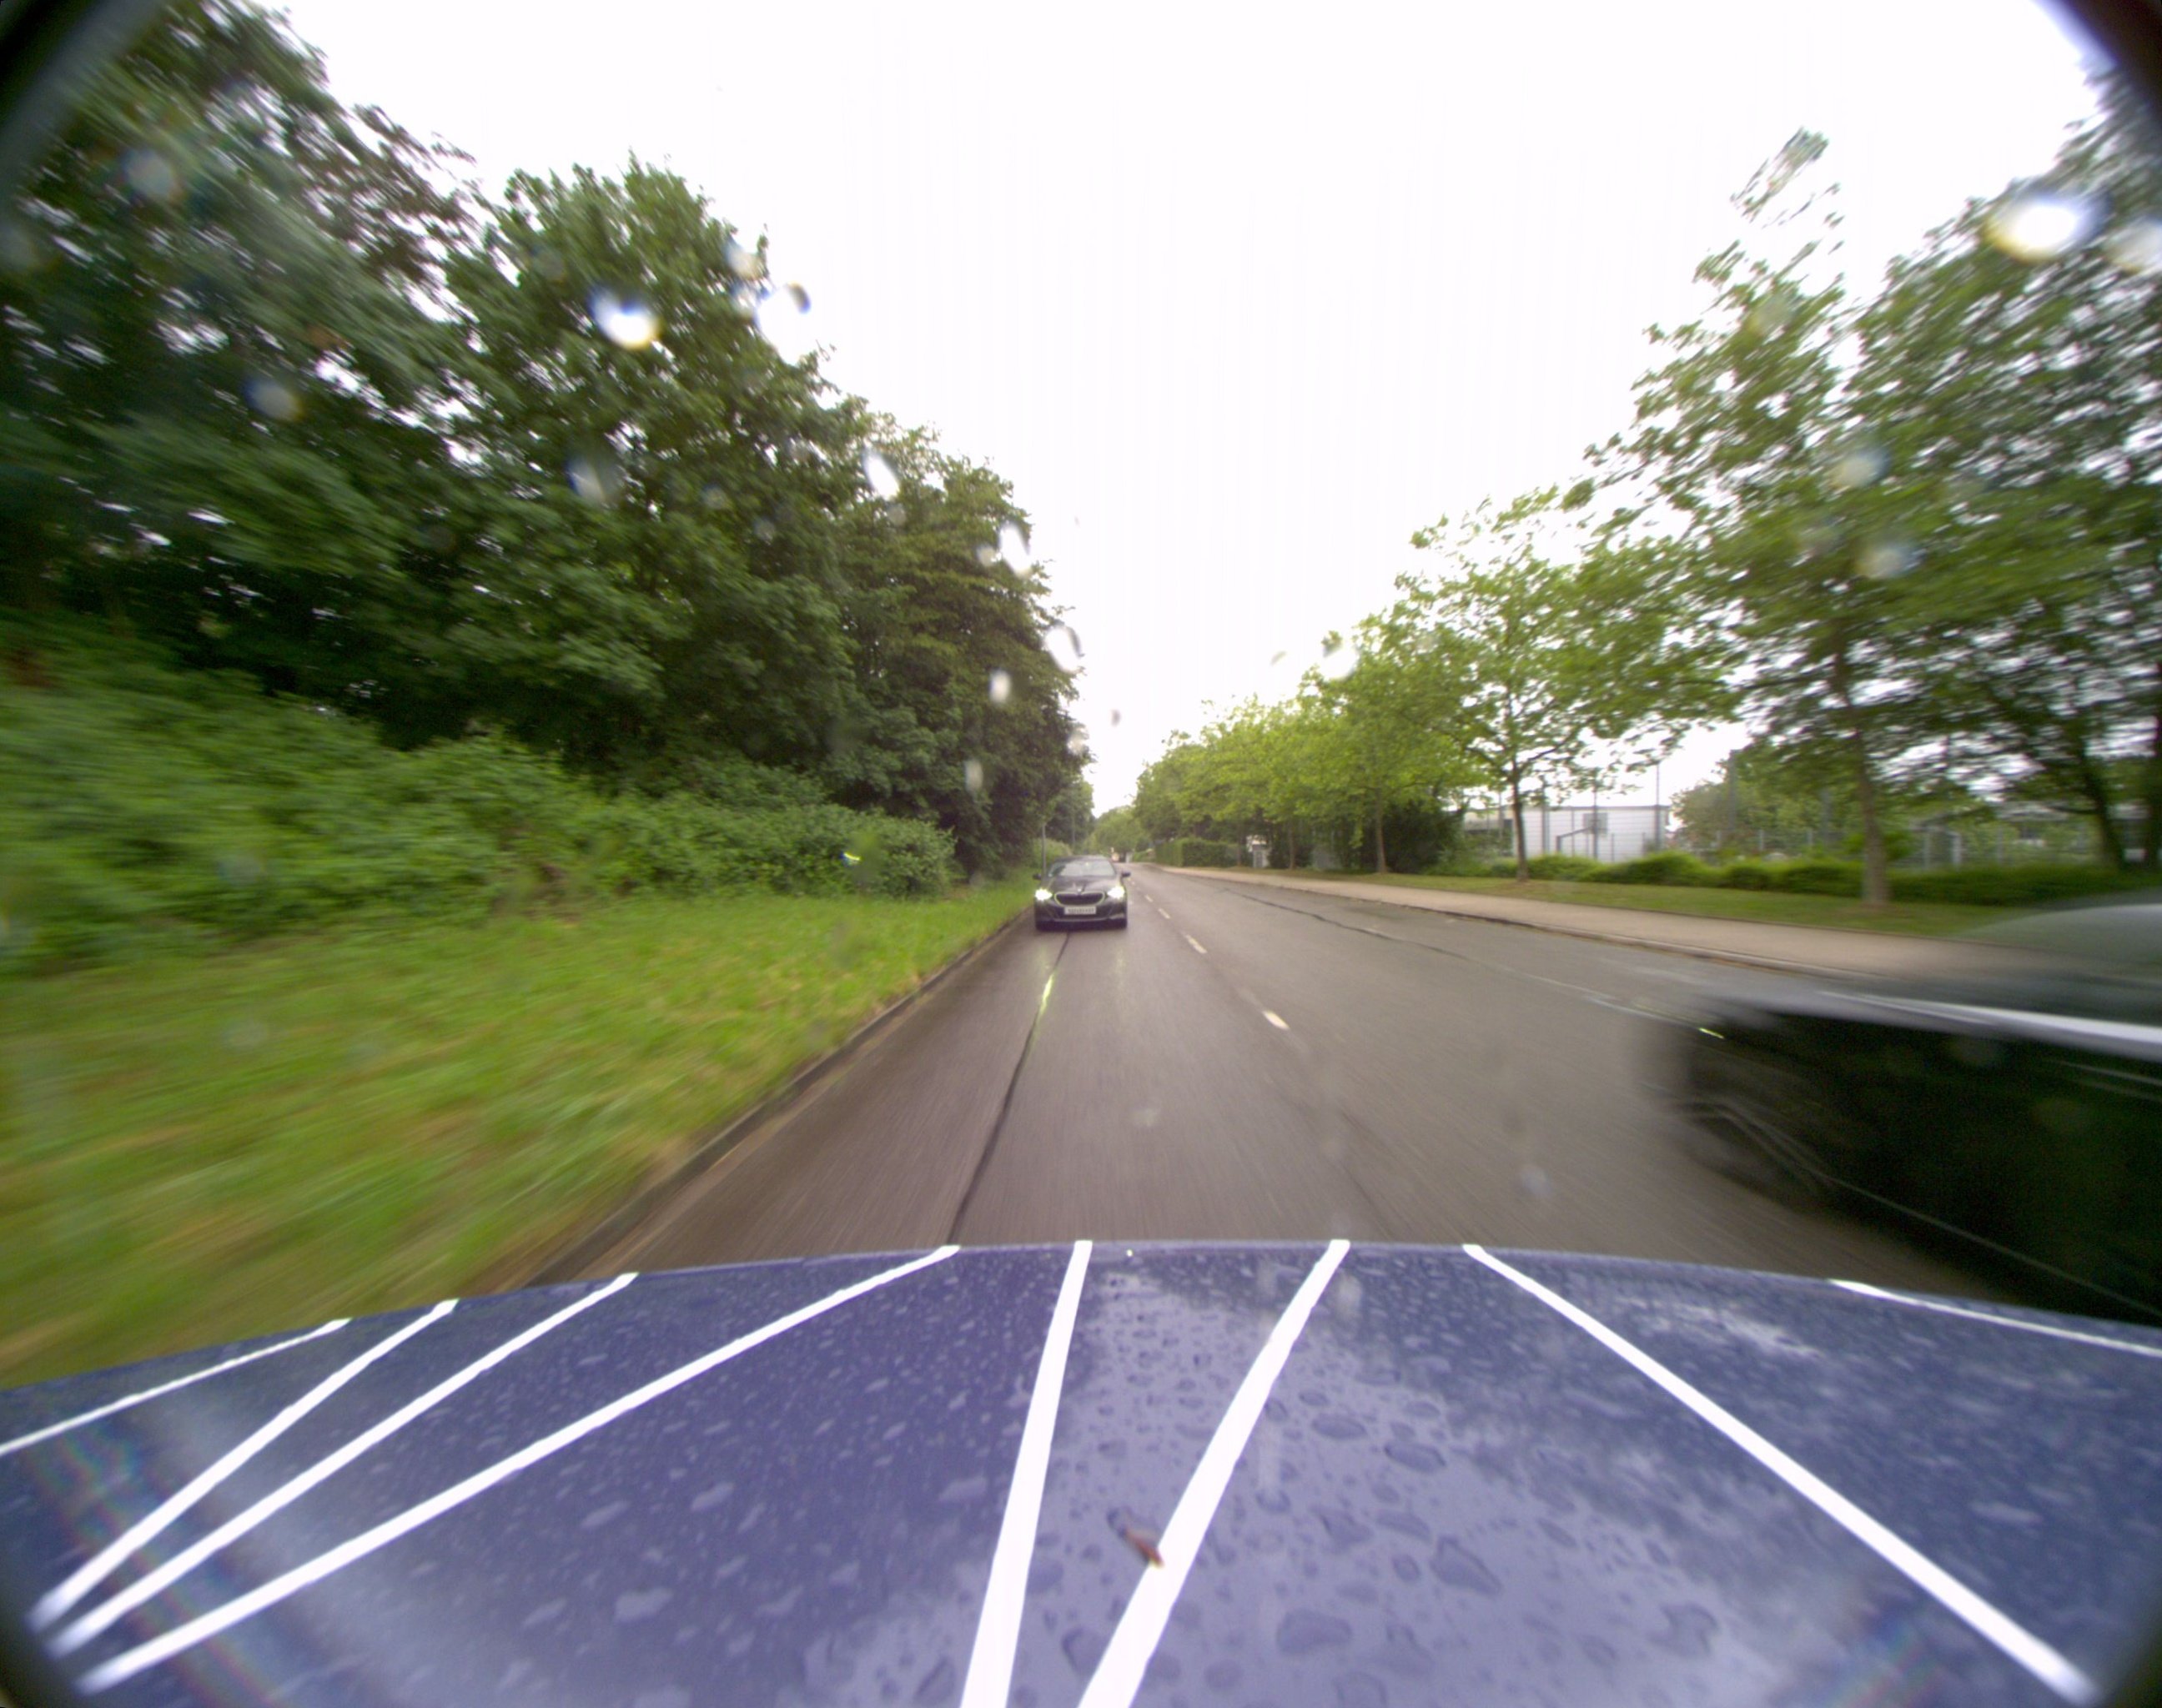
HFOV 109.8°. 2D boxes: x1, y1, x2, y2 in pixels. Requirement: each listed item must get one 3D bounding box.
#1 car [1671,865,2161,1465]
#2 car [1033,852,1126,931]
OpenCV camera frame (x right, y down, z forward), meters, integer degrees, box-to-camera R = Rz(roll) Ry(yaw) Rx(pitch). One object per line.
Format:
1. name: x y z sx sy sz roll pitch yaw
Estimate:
1. car: 3.617 0.812 1.540 1.830 1.456 4.000 0 1 2
2. car: 0.004 0.767 17.879 1.832 1.499 4.498 -3 1 1
